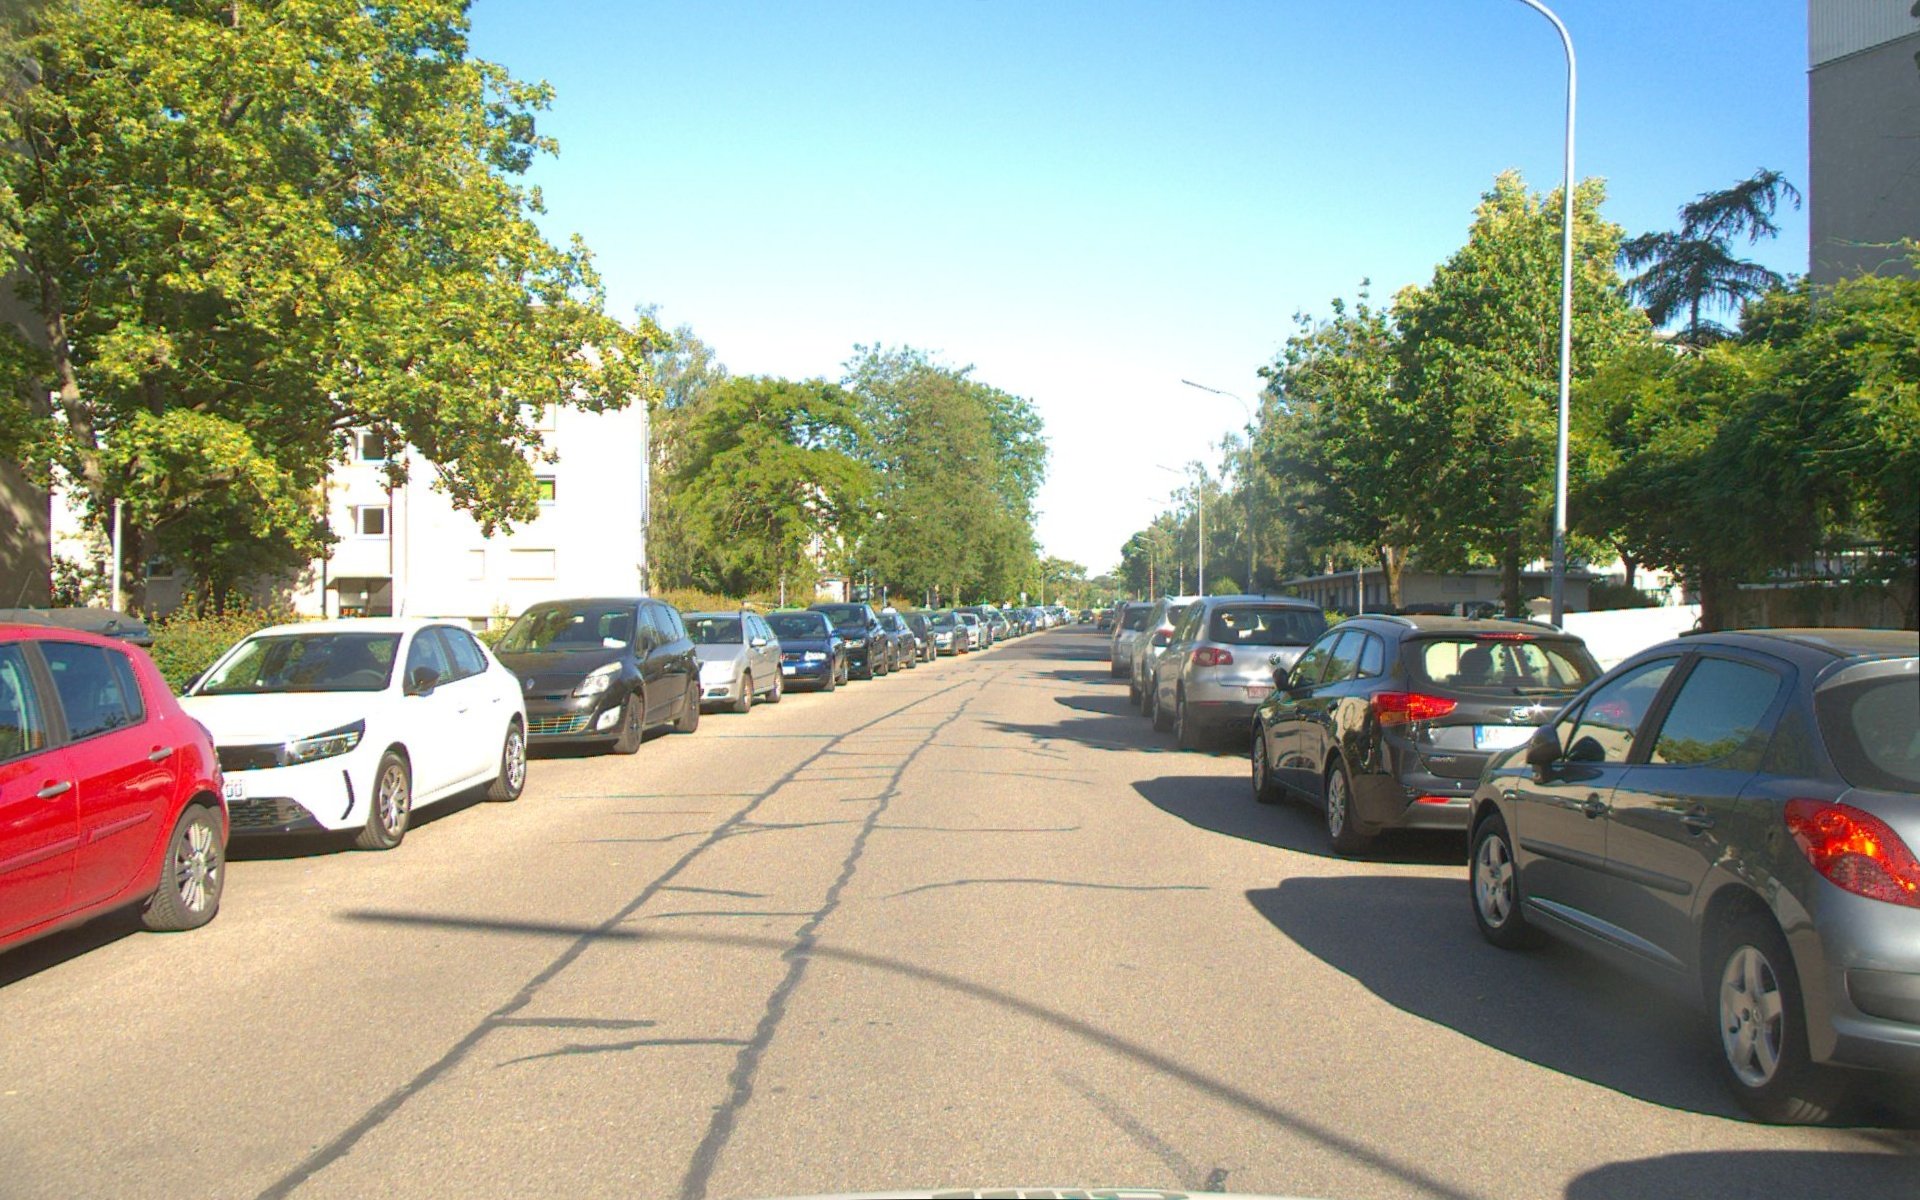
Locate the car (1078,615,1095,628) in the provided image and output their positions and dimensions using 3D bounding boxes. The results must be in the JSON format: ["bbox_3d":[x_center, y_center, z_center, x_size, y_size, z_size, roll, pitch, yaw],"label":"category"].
[{"bbox_3d":[14.358,2.427,187.765,1.903,1.312,4.236,1,1,4],"label":"car"}]

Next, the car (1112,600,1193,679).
[{"bbox_3d":[4.303,0.850,37.408,1.661,1.670,4.236,1,0,5],"label":"car"}]

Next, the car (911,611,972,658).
[{"bbox_3d":[-0.597,1.144,56.109,1.477,1.476,3.693,-2,0,8],"label":"car"}]

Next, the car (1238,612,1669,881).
[{"bbox_3d":[3.184,0.857,11.596,1.647,1.482,4.290,1,0,-1],"label":"car"}]

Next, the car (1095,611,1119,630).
[{"bbox_3d":[11.371,1.564,128.209,1.786,1.348,4.236,1,1,5],"label":"car"}]

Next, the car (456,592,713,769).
[{"bbox_3d":[-4.016,0.793,18.422,1.635,1.696,4.407,-2,0,3],"label":"car"}]

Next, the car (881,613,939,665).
[{"bbox_3d":[-1.470,1.144,49.223,1.360,1.438,3.127,-2,0,4],"label":"car"}]

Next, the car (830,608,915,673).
[{"bbox_3d":[-2.140,0.983,41.263,1.625,1.464,3.761,-2,0,4],"label":"car"}]

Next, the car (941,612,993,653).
[{"bbox_3d":[0.280,1.205,62.422,1.477,1.388,3.470,-2,0,8],"label":"car"}]

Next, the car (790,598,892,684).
[{"bbox_3d":[-2.529,0.845,35.976,1.625,1.718,4.051,-2,0,4],"label":"car"}]

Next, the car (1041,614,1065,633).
[{"bbox_3d":[8.041,2.051,143.263,1.785,1.491,4.237,1,1,7],"label":"car"}]

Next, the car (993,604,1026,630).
[{"bbox_3d":[2.817,0.943,93.232,1.477,1.352,3.470,-2,0,8],"label":"car"}]

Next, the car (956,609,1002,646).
[{"bbox_3d":[0.838,1.161,70.130,1.477,1.459,3.470,-2,0,8],"label":"car"}]

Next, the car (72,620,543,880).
[{"bbox_3d":[-4.327,0.902,11.655,1.636,1.446,3.902,-1,0,2],"label":"car"}]

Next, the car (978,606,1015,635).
[{"bbox_3d":[1.897,1.022,84.511,1.477,1.352,3.470,-2,0,8],"label":"car"}]

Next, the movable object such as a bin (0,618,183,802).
[{"bbox_3d":[-7.349,0.890,13.941,0.968,1.443,1.314,0,0,0],"label":"movable object such as a bin"}]

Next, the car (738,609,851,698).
[{"bbox_3d":[-2.994,0.937,30.611,1.626,1.451,4.049,-2,0,0],"label":"car"}]

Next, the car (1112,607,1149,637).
[{"bbox_3d":[8.761,1.098,85.172,1.786,1.492,4.236,0,0,5],"label":"car"}]

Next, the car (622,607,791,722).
[{"bbox_3d":[-3.691,0.899,24.756,1.625,1.512,4.054,-2,0,4],"label":"car"}]

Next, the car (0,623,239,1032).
[{"bbox_3d":[-4.403,0.881,6.347,1.636,1.500,3.678,-2,0,0],"label":"car"}]

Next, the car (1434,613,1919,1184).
[{"bbox_3d":[3.227,0.837,6.349,1.650,1.513,3.823,2,0,-1],"label":"car"}]

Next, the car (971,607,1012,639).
[{"bbox_3d":[1.513,1.074,78.521,1.477,1.405,3.470,-2,0,8],"label":"car"}]

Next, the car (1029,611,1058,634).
[{"bbox_3d":[6.099,1.624,120.351,1.785,1.491,4.237,1,1,7],"label":"car"}]

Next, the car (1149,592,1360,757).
[{"bbox_3d":[3.228,0.761,18.892,1.694,1.647,4.234,1,0,1],"label":"car"}]

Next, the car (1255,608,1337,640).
[{"bbox_3d":[17.931,1.297,88.308,4.130,1.557,1.831,1,-3,6],"label":"car"}]

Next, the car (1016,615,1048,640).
[{"bbox_3d":[4.837,1.813,110.197,1.785,1.491,4.237,1,1,7],"label":"car"}]

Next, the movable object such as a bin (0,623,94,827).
[{"bbox_3d":[-7.404,0.917,12.568,0.968,1.443,1.314,0,0,-2],"label":"movable object such as a bin"}]

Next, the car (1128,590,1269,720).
[{"bbox_3d":[3.410,0.742,24.259,1.618,1.728,4.235,1,0,3],"label":"car"}]

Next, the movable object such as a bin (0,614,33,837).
[{"bbox_3d":[-7.133,0.875,11.051,1.088,1.525,1.408,0,0,-2],"label":"movable object such as a bin"}]
